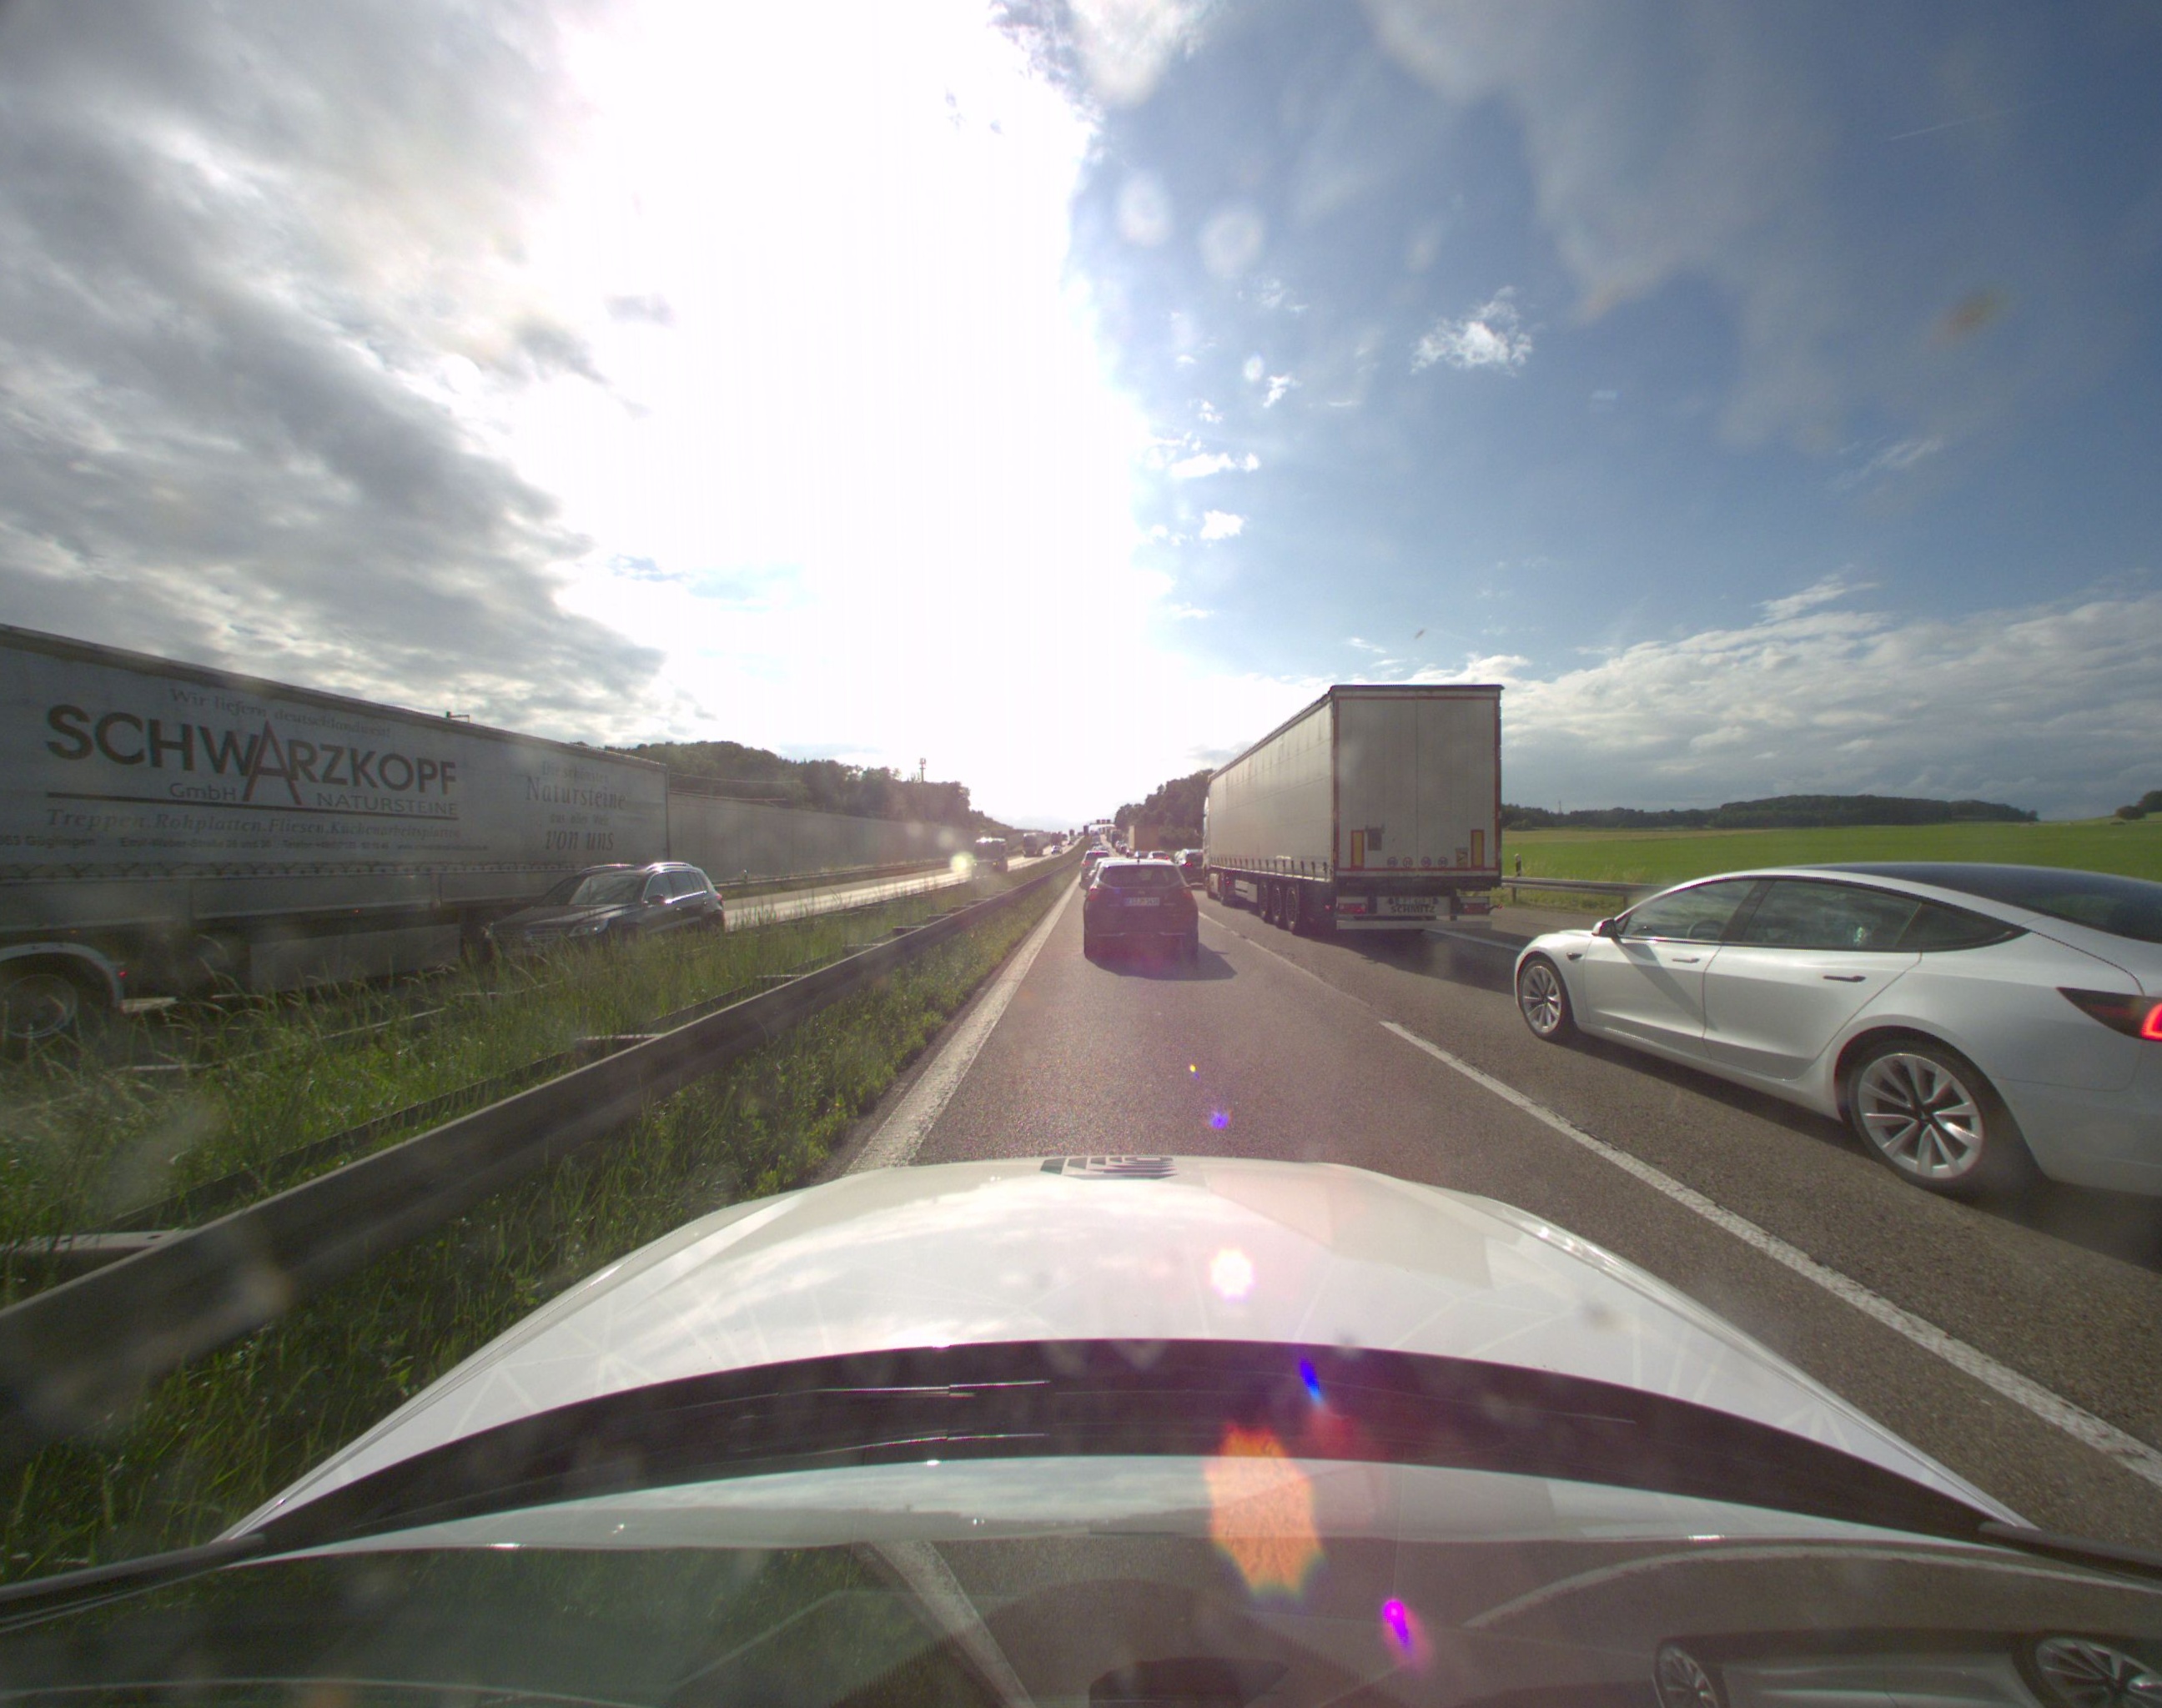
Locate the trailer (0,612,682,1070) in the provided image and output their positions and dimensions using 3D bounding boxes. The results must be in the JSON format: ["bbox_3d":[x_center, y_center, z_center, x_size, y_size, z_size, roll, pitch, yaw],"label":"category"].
[{"bbox_3d":[-10.915,-0.046,12.751,2.381,4.182,13.207,-2,-1,2],"label":"trailer"}]

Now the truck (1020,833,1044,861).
[{"bbox_3d":[-8.684,-1.230,145.313,3.285,4.577,12.442,-1,0,1],"label":"truck"}]

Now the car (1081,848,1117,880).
[{"bbox_3d":[1.028,0.564,45.723,1.866,1.644,4.233,-1,-1,1],"label":"car"}]

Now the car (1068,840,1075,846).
[{"bbox_3d":[-2.635,-3.138,228.304,1.737,1.705,4.234,0,1,2],"label":"car"}]

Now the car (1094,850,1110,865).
[{"bbox_3d":[2.635,0.438,102.633,1.866,1.644,4.234,-1,1,1],"label":"car"}]

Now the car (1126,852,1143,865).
[{"bbox_3d":[6.735,0.571,103.359,1.867,1.644,4.232,-1,0,0],"label":"car"}]

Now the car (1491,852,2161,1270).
[{"bbox_3d":[4.526,0.708,4.941,1.783,1.394,4.435,-1,0,-1],"label":"car"}]

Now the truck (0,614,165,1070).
[{"bbox_3d":[-11.103,-0.098,5.769,2.372,4.181,5.933,-2,-1,1],"label":"truck"}]

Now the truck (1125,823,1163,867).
[{"bbox_3d":[6.945,-0.865,92.075,3.286,4.577,12.437,0,-1,0],"label":"truck"}]

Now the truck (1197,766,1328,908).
[{"bbox_3d":[5.542,-0.437,25.846,3.122,4.016,5.165,-1,-1,2],"label":"truck"}]

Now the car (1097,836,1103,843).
[{"bbox_3d":[5.734,-4.337,243.168,1.867,2.158,5.213,-1,2,1],"label":"car"}]

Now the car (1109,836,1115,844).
[{"bbox_3d":[9.411,-4.229,246.793,1.867,2.158,5.213,-1,2,1],"label":"car"}]

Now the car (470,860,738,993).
[{"bbox_3d":[-7.167,0.975,12.825,1.703,1.706,4.173,-1,-1,0],"label":"car"}]

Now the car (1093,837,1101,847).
[{"bbox_3d":[3.681,-2.751,186.818,1.867,2.158,5.213,-1,2,1],"label":"car"}]

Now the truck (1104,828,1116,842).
[{"bbox_3d":[9.253,-6.059,262.944,3.453,4.577,12.439,0,1,0],"label":"truck"}]

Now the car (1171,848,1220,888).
[{"bbox_3d":[4.984,0.610,36.025,1.691,1.611,4.439,-1,-1,2],"label":"car"}]

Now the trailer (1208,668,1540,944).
[{"bbox_3d":[5.306,-0.563,18.600,3.119,4.011,13.370,-1,-1,2],"label":"trailer"}]

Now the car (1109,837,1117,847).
[{"bbox_3d":[7.565,-2.831,191.832,1.867,2.158,5.213,-1,2,1],"label":"car"}]

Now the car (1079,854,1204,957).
[{"bbox_3d":[0.928,0.759,13.874,1.767,1.451,4.233,-1,-1,1],"label":"car"}]

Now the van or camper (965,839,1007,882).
[{"bbox_3d":[-6.515,0.467,56.580,2.083,2.820,5.896,0,-1,1],"label":"van or camper"}]

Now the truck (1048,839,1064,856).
[{"bbox_3d":[-6.897,-1.698,224.740,3.283,4.554,12.450,-1,0,3],"label":"truck"}]

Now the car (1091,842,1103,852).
[{"bbox_3d":[2.777,-1.163,142.207,1.867,1.644,4.232,-1,1,0],"label":"car"}]

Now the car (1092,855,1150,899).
[{"bbox_3d":[1.349,0.757,28.485,1.866,1.358,4.233,-1,0,1],"label":"car"}]

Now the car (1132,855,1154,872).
[{"bbox_3d":[6.069,0.906,79.781,1.866,1.644,4.233,-1,0,1],"label":"car"}]

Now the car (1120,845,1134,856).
[{"bbox_3d":[7.562,-0.607,134.556,1.868,1.644,4.229,-1,1,-2],"label":"car"}]

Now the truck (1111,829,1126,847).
[{"bbox_3d":[9.976,-4.252,217.206,3.453,4.577,12.439,0,1,0],"label":"truck"}]

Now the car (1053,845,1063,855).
[{"bbox_3d":[-4.330,-0.740,152.375,1.738,1.706,4.231,0,-1,0],"label":"car"}]

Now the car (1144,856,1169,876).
[{"bbox_3d":[6.373,1.008,69.136,1.866,1.644,4.233,-1,-1,1],"label":"car"}]
